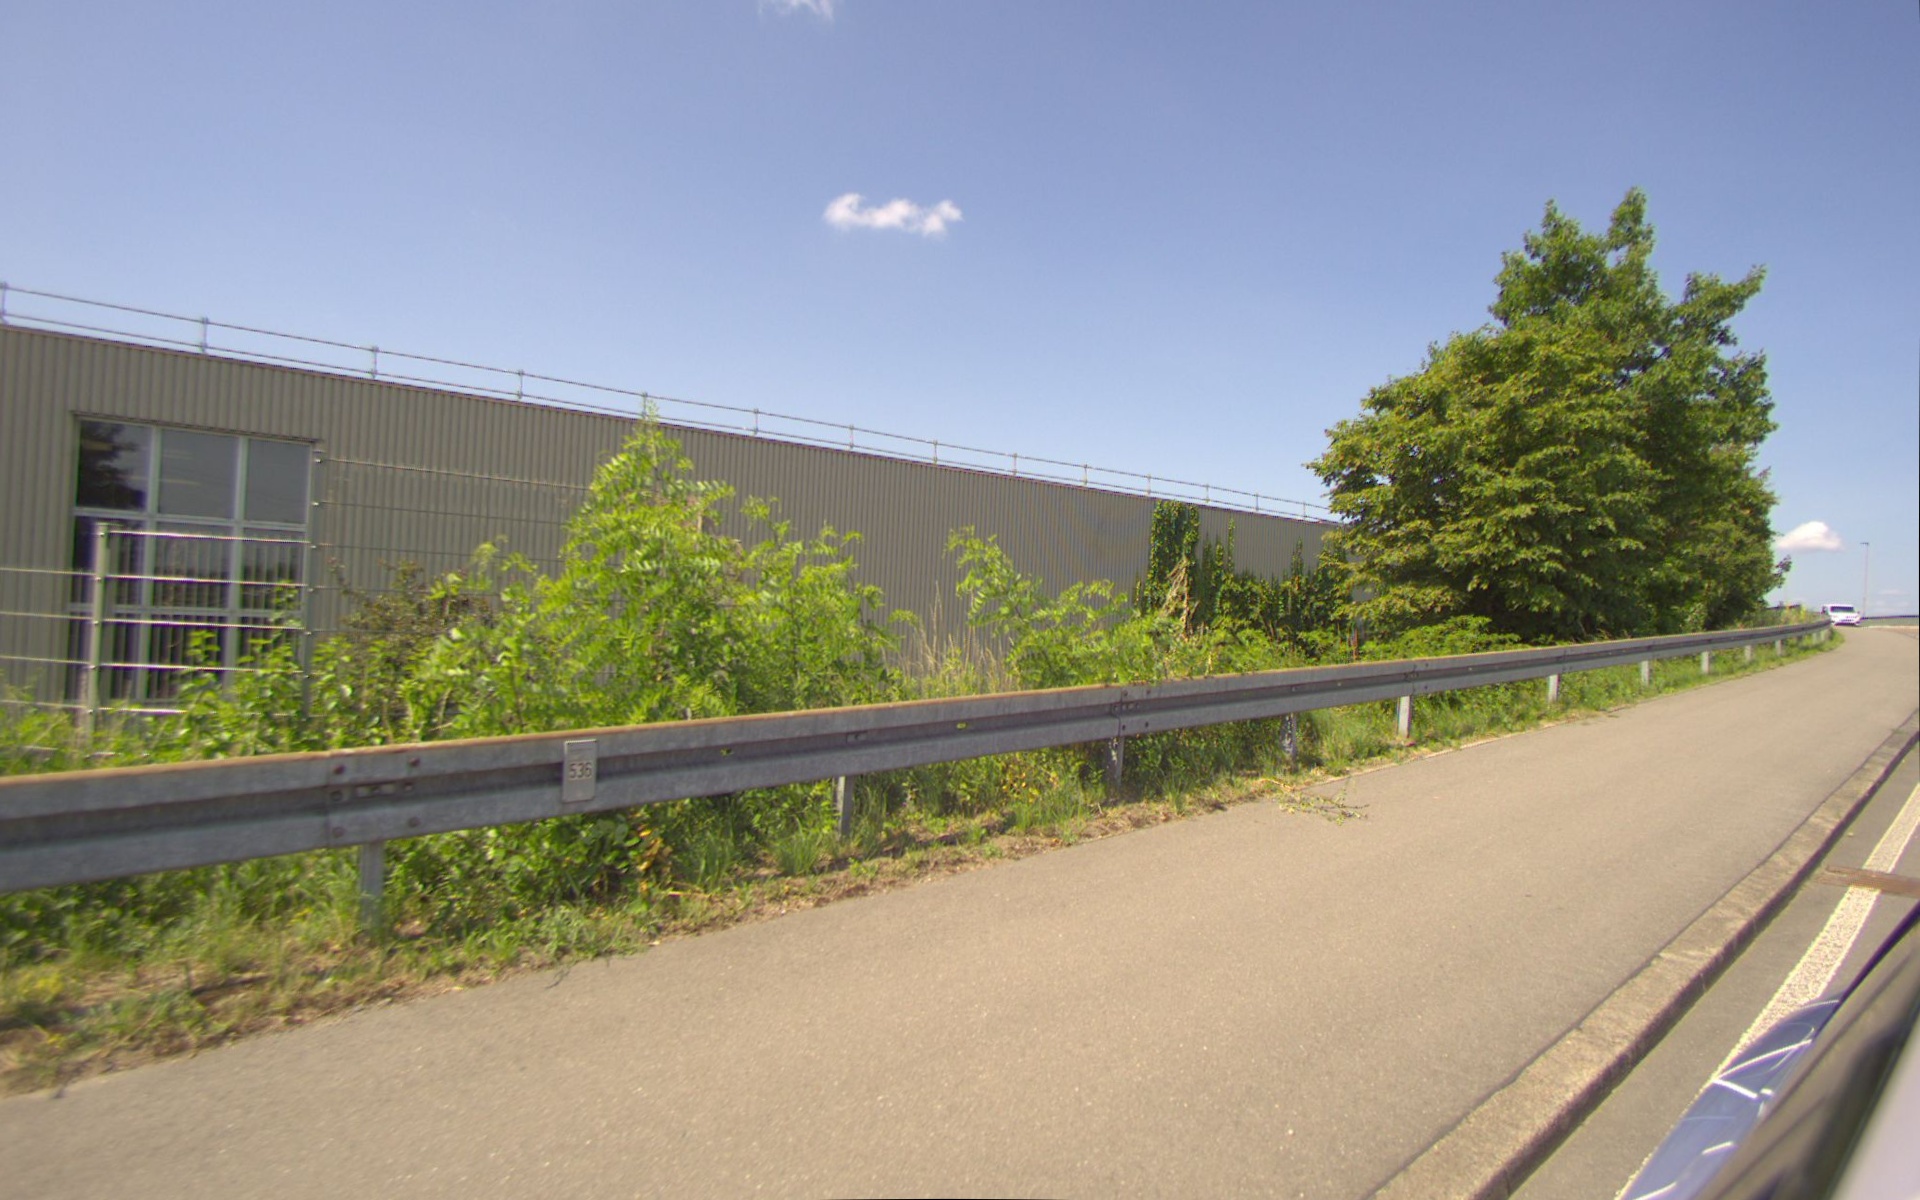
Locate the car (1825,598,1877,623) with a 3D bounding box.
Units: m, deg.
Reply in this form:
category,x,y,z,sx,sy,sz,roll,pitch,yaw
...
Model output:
category,x,y,z,sx,sy,sz,roll,pitch,yaw
car,66.530,0.789,75.625,2.076,1.784,4.236,-1,-2,30
